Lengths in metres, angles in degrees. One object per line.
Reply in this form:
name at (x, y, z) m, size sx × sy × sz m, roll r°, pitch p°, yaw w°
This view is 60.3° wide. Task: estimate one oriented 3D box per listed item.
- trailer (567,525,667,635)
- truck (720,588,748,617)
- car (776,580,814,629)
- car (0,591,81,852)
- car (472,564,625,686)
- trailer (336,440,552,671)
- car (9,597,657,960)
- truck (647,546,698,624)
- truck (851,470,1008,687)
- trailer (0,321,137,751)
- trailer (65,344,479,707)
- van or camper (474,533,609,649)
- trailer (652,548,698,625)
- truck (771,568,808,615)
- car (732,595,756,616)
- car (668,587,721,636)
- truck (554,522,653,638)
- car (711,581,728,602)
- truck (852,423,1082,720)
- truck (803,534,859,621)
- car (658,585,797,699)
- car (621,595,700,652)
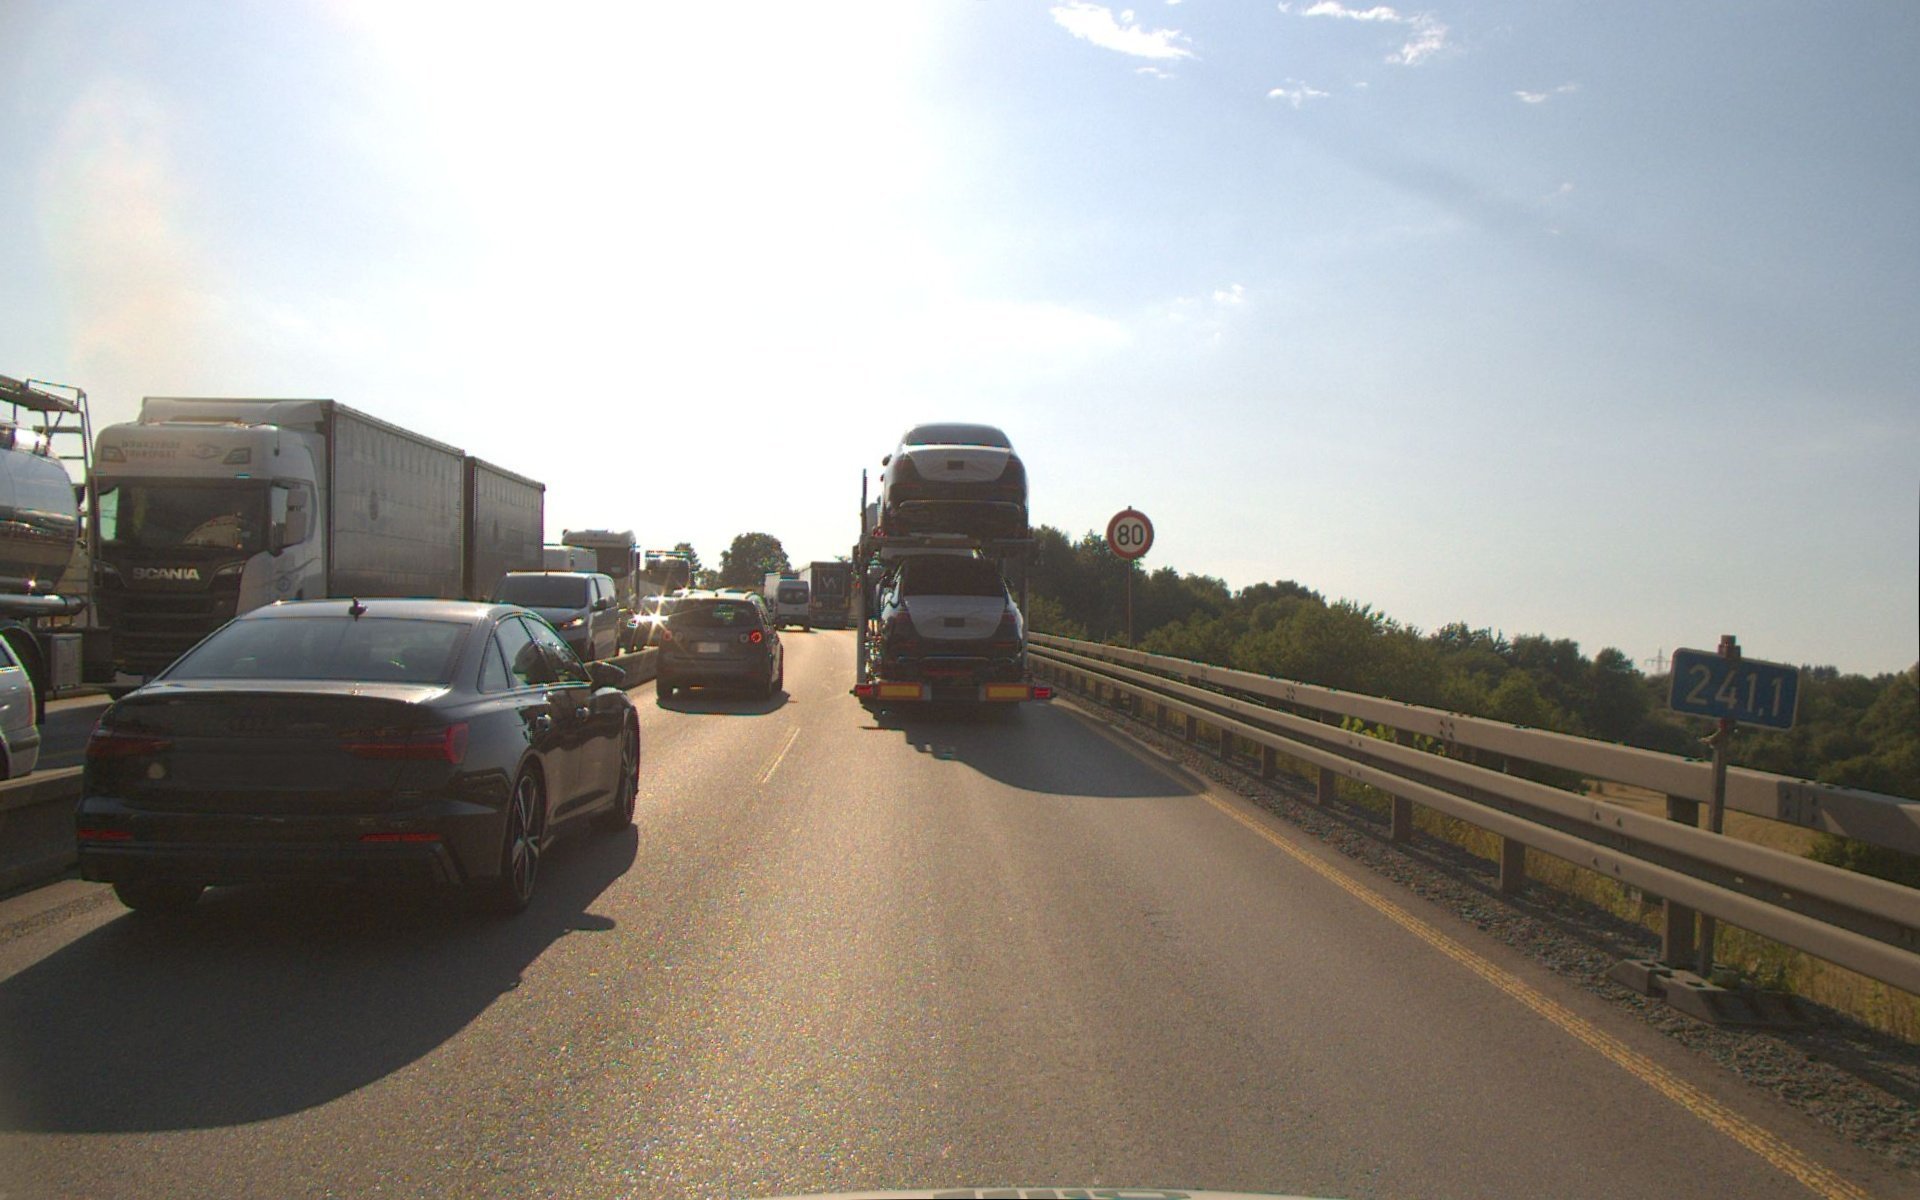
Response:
trailer at (-13.143, -0.642, 64.365) m, size 2.471 × 3.790 × 13.957 m, roll 1°, pitch -1°, yaw -7°
truck at (-25.463, 0.284, 186.467) m, size 2.539 × 3.226 × 6.671 m, roll 1°, pitch -1°, yaw -4°
car at (-8.904, 0.280, 89.588) m, size 1.883 × 2.536 × 5.403 m, roll 1°, pitch -1°, yaw -4°
car at (-6.072, 0.653, 7.714) m, size 1.595 × 1.451 × 4.655 m, roll 1°, pitch -1°, yaw -2°
car at (-7.179, 0.434, 29.291) m, size 1.781 × 1.959 × 4.832 m, roll 1°, pitch -1°, yaw -4°
trailer at (-10.621, -0.788, 34.956) m, size 2.395 × 4.262 × 8.536 m, roll 1°, pitch -1°, yaw -4°
car at (-2.937, 0.715, 9.062) m, size 1.896 × 1.423 × 4.957 m, roll 1°, pitch 0°, yaw -4°
truck at (-15.750, -0.767, 90.753) m, size 2.456 × 4.137 × 5.655 m, roll 1°, pitch -1°, yaw -8°
truck at (-0.818, -0.340, 34.821) m, size 2.781 × 3.858 × 9.979 m, roll 1°, pitch -1°, yaw -3°
trailer at (-9.566, -0.613, 11.483) m, size 2.261 × 3.856 × 12.044 m, roll 1°, pitch -1°, yaw -3°
trailer at (-9.933, -0.859, 25.491) m, size 2.426 × 4.404 × 10.504 m, roll 1°, pitch -1°, yaw -3°
van or camper at (-11.523, -0.200, 46.176) m, size 2.361 × 2.942 × 7.610 m, roll 1°, pitch -1°, yaw -5°
trailer at (-16.881, -0.686, 98.634) m, size 2.264 × 4.203 × 14.572 m, roll 1°, pitch -1°, yaw -8°
truck at (-14.039, -0.638, 136.688) m, size 2.480 × 3.712 × 8.899 m, roll 1°, pitch -1°, yaw -3°
car at (-19.693, 0.502, 150.752) m, size 1.790 × 1.803 × 3.998 m, roll 1°, pitch -1°, yaw -3°
car at (-9.791, 0.444, 61.318) m, size 1.723 × 1.725 × 4.447 m, roll 1°, pitch -1°, yaw -7°
truck at (-12.417, -0.640, 58.074) m, size 2.550 × 3.820 × 6.509 m, roll 1°, pitch -1°, yaw -5°
car at (-24.200, -0.882, 166.091) m, size 1.600 × 2.049 × 3.991 m, roll 1°, pitch -1°, yaw -9°
truck at (-0.217, -0.294, 25.347) m, size 2.743 × 3.558 × 10.597 m, roll 1°, pitch -1°, yaw -3°
truck at (-8.426, -1.332, 107.134) m, size 3.223 × 5.328 × 9.921 m, roll 1°, pitch -1°, yaw -6°
car at (-3.559, 0.621, 25.925) m, size 1.657 × 1.624 × 3.999 m, roll 1°, pitch -1°, yaw -1°
car at (-8.447, 0.654, 46.892) m, size 1.647 × 1.505 × 4.599 m, roll 1°, pitch -1°, yaw -4°
